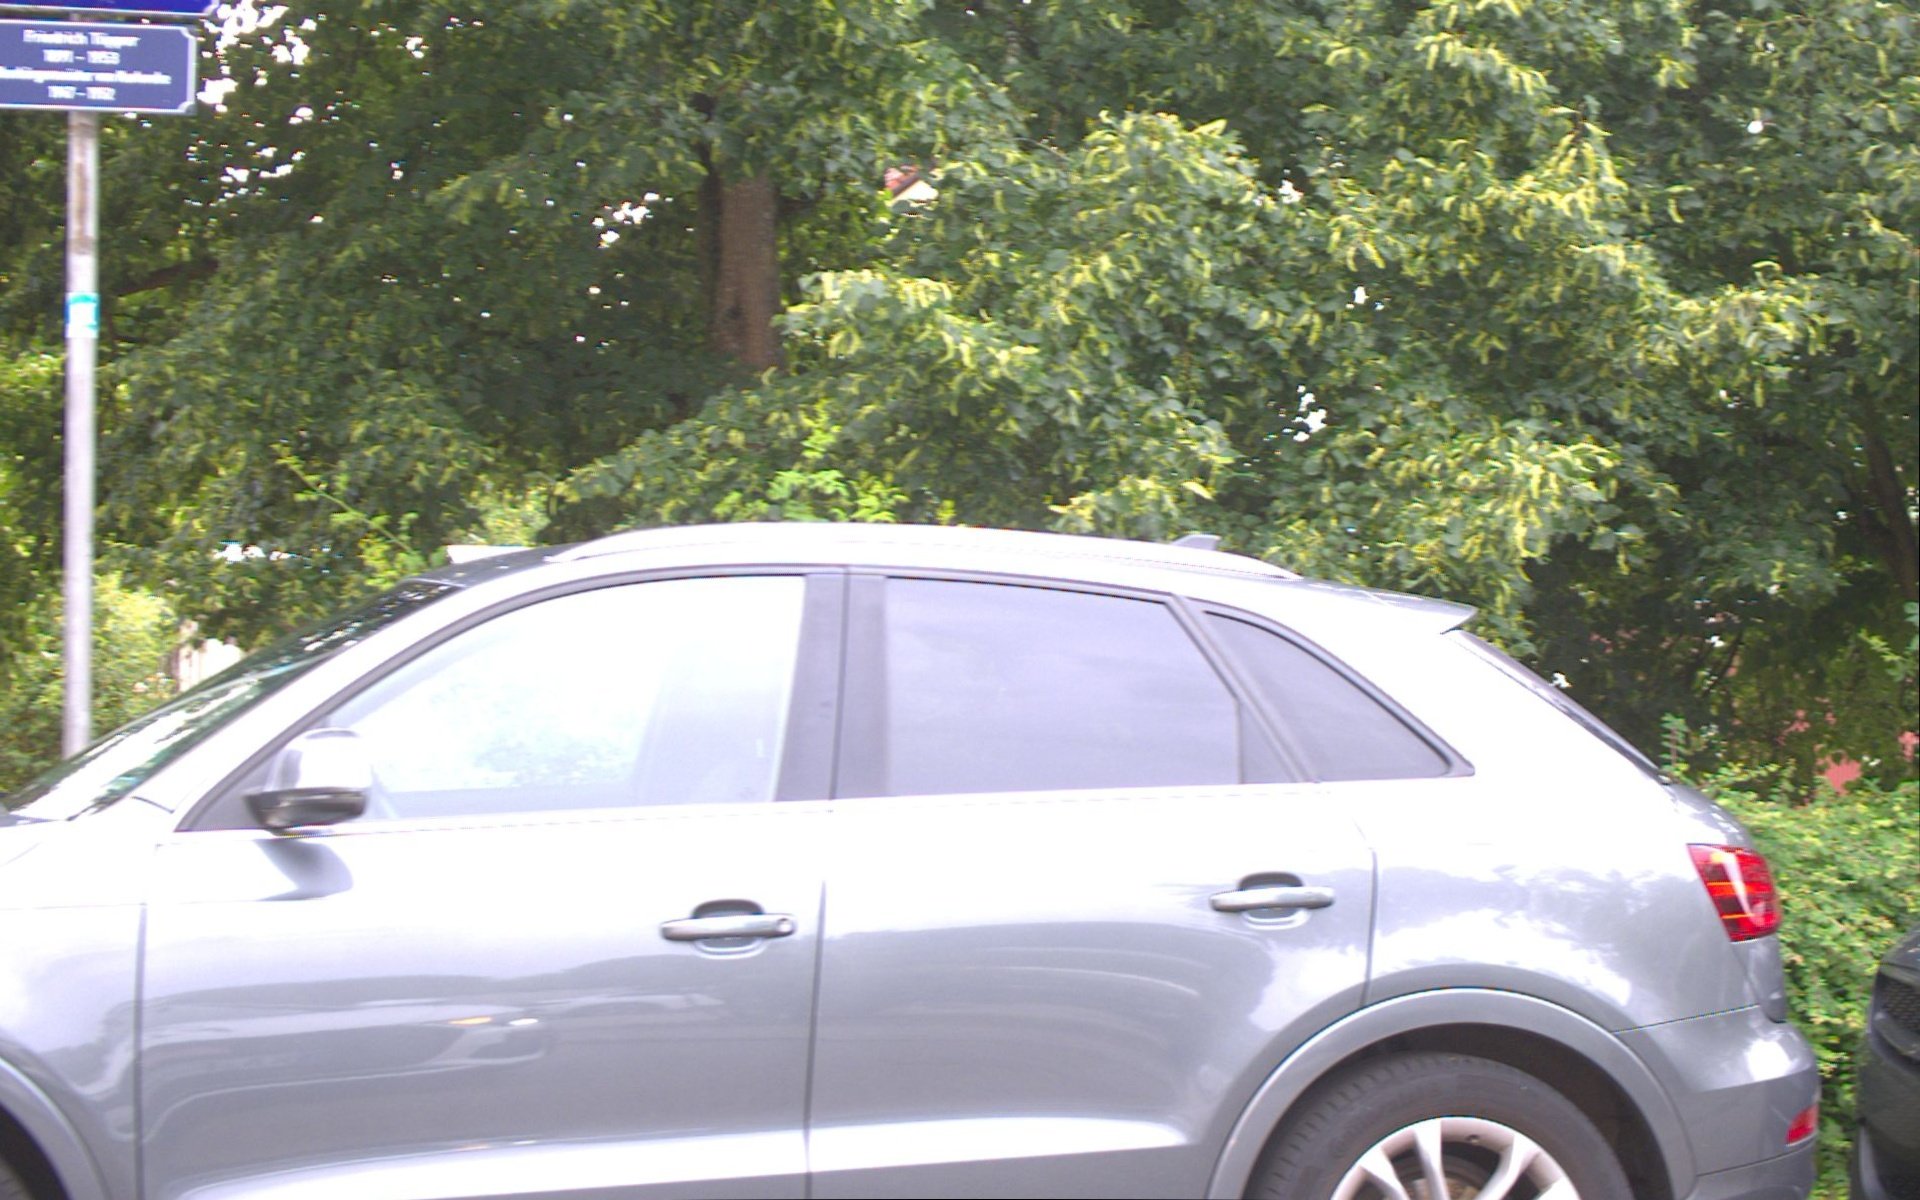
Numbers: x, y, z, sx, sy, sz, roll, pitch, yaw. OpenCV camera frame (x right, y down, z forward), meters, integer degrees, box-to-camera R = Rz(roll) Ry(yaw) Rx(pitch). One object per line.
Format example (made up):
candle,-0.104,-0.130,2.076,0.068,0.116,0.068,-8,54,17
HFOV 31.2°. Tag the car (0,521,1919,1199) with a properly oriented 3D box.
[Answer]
car,-0.641,0.677,6.062,4.236,1.526,1.748,1,-1,-14

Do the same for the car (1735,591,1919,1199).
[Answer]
car,3.844,0.771,6.747,4.180,1.526,1.748,1,-1,-9
